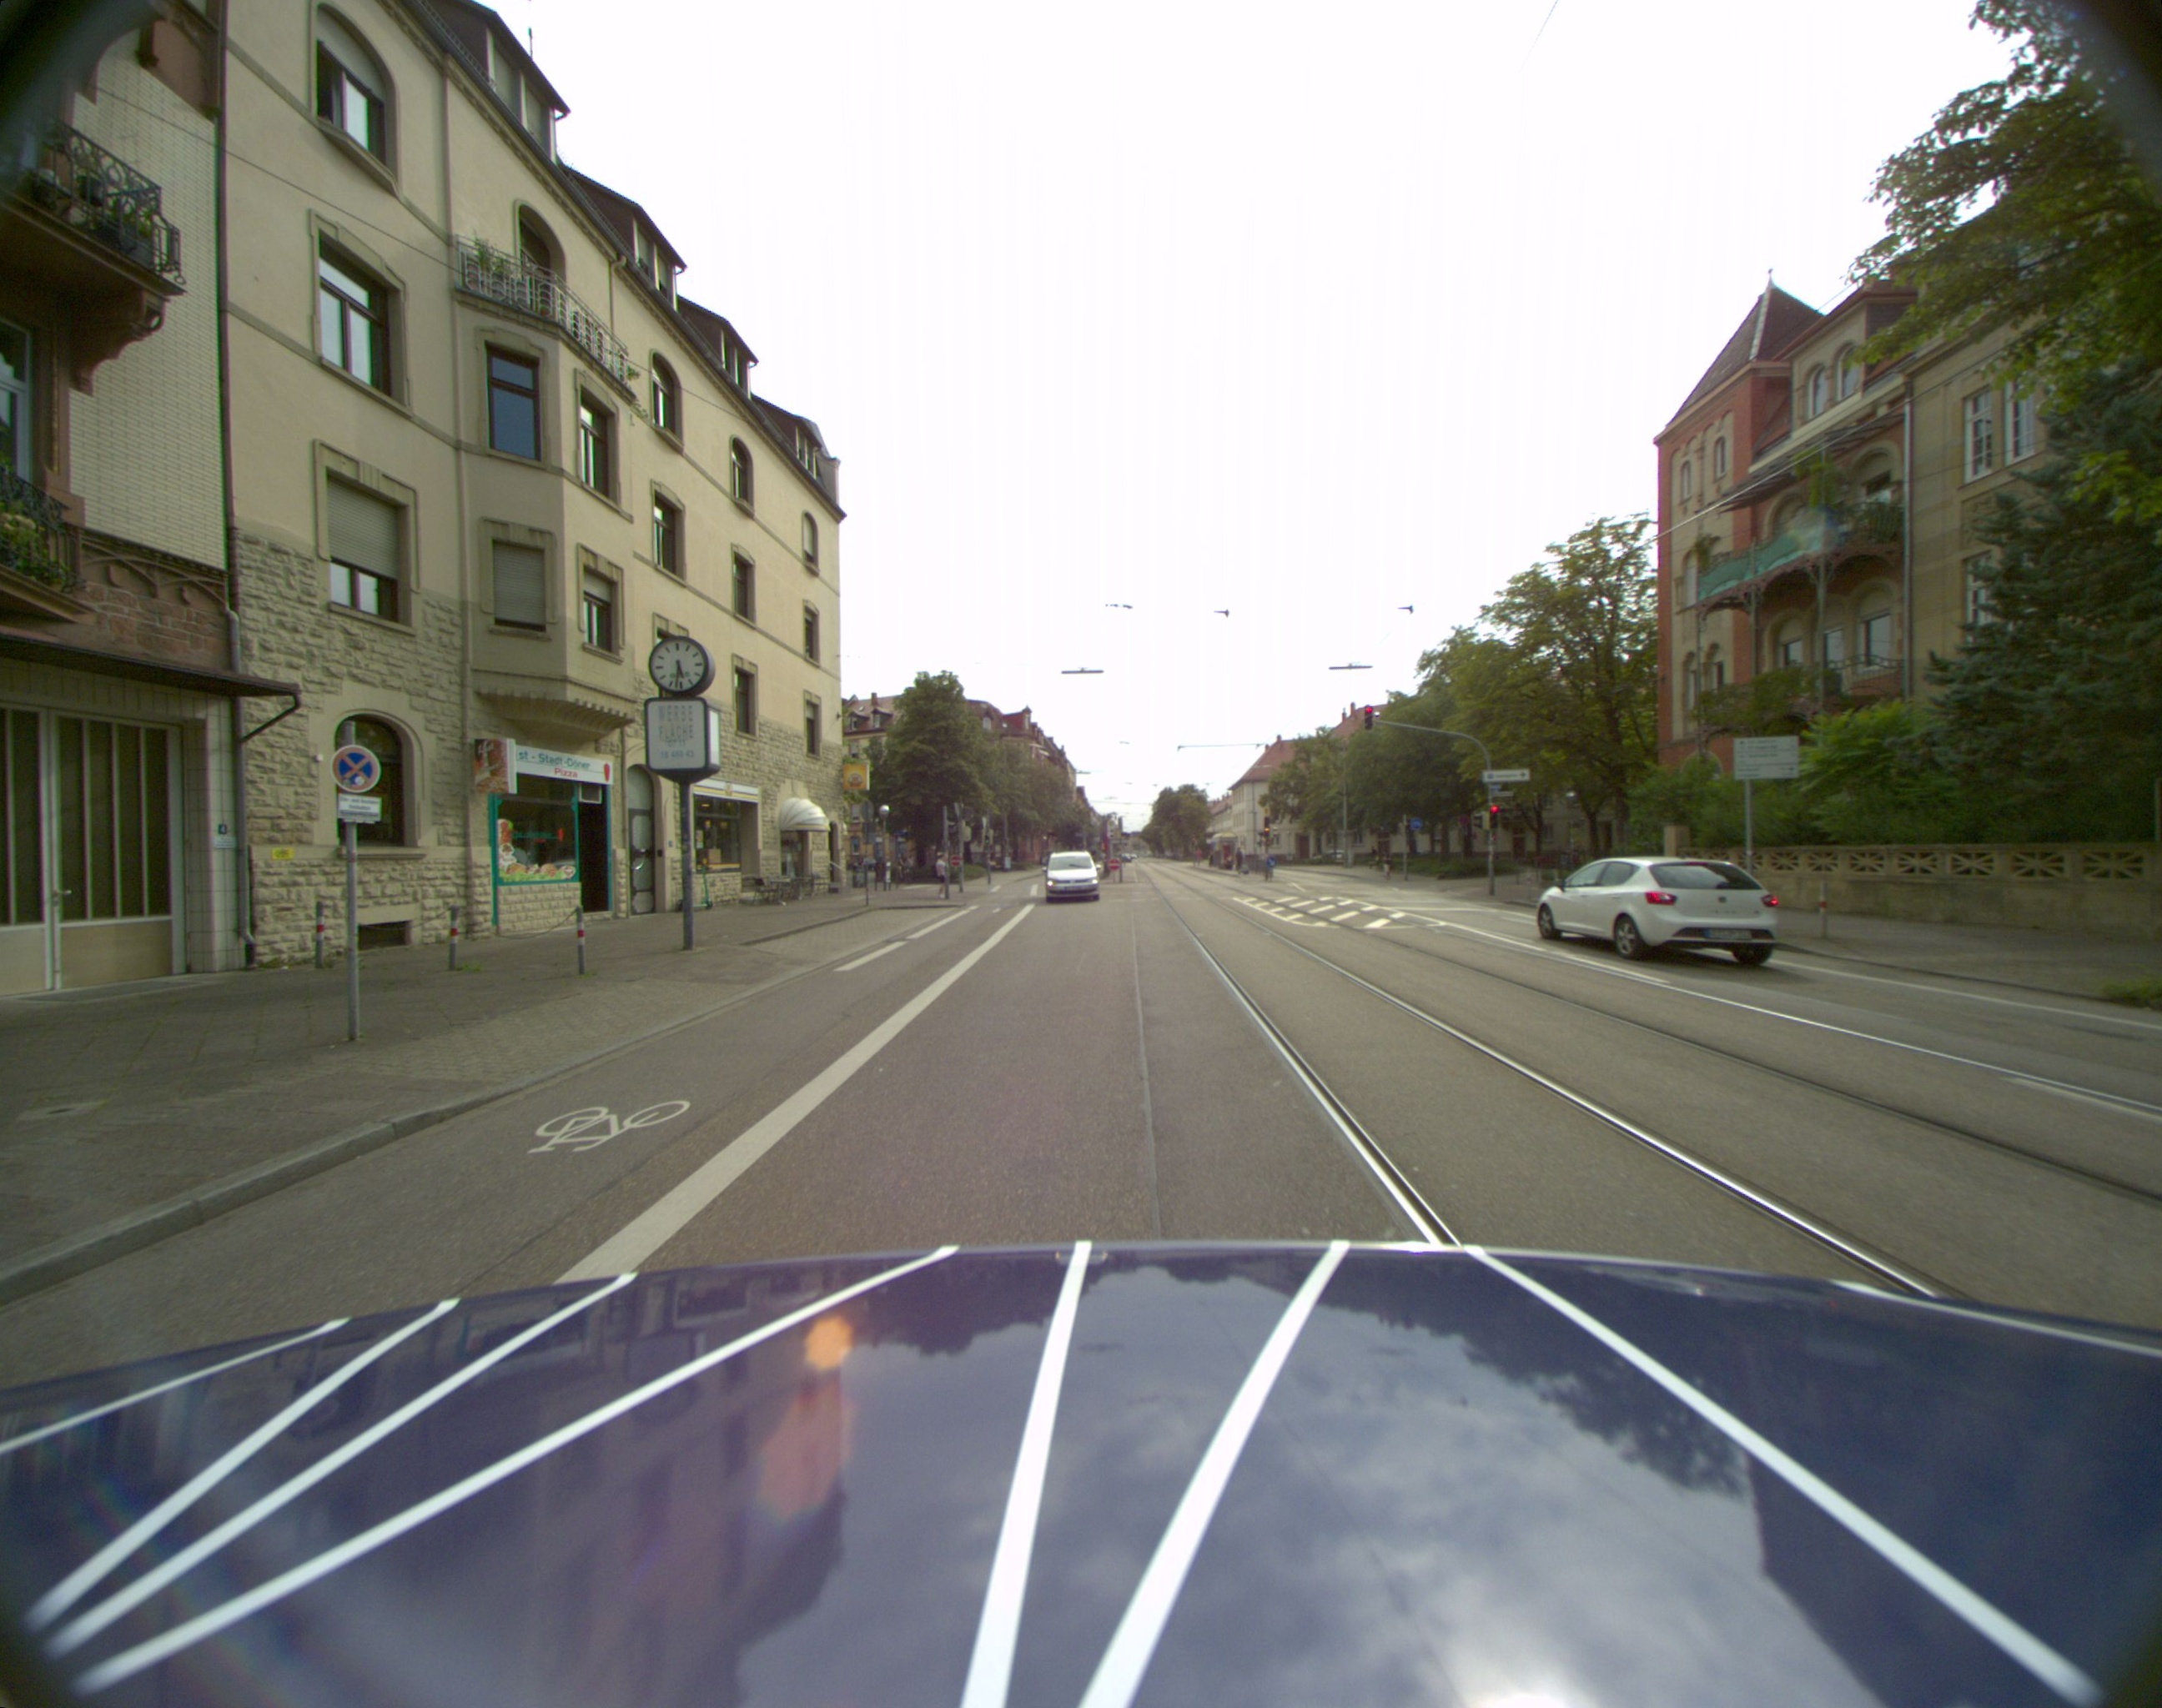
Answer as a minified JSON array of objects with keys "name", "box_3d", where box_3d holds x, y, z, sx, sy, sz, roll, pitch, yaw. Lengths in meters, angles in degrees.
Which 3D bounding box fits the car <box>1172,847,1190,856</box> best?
[{"name":"car","box_3d":[22.274,-0.578,169.701,3.995,1.716,1.877,-2,1,6]}]

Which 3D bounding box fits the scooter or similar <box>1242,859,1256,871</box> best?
[{"name":"scooter or similar","box_3d":[9.996,0.661,45.200,0.669,0.708,0.604,1,1,35]}]

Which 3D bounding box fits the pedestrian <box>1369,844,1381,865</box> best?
[{"name":"pedestrian","box_3d":[28.472,0.017,73.575,0.862,2.002,0.765,-1,1,38]}]

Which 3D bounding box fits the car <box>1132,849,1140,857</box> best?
[{"name":"car","box_3d":[15.080,-0.212,209.477,1.998,2.002,4.001,-2,0,5]}]

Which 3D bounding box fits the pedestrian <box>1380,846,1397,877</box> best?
[{"name":"pedestrian","box_3d":[16.983,0.404,41.945,0.654,1.680,0.712,-1,1,0]}]

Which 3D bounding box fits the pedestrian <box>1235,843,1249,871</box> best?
[{"name":"pedestrian","box_3d":[9.738,0.167,45.948,0.684,1.681,0.815,0,1,2]}]

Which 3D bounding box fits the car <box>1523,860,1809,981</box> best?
[{"name":"car","box_3d":[8.437,0.842,11.467,1.574,1.408,4.002,1,0,7]}]

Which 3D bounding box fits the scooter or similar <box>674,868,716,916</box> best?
[{"name":"scooter or similar","box_3d":[-9.931,0.956,19.591,0.398,1.161,1.197,1,1,4]}]

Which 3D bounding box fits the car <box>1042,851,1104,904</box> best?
[{"name":"car","box_3d":[-0.182,0.752,27.004,1.766,1.661,4.330,-2,0,4]}]

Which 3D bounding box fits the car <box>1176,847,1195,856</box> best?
[{"name":"car","box_3d":[21.907,-0.509,159.212,3.995,1.716,1.877,-2,1,6]}]

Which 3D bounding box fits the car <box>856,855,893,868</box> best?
[{"name":"car","box_3d":[-22.348,0.845,82.183,3.581,1.259,1.742,-2,1,27]}]

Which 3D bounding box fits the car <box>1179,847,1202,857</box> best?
[{"name":"car","box_3d":[20.057,-0.340,139.635,3.995,1.716,1.877,-2,1,6]}]

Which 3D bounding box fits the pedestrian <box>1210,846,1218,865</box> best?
[{"name":"pedestrian","box_3d":[12.105,0.146,69.354,0.588,1.694,0.619,-2,1,0]}]

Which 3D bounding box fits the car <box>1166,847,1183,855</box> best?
[{"name":"car","box_3d":[23.183,-0.713,188.945,3.995,1.716,1.877,-2,1,6]}]

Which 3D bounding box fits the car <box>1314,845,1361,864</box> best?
[{"name":"car","box_3d":[26.353,0.041,78.197,4.188,1.854,1.857,-2,1,38]}]

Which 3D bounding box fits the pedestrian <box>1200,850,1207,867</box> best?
[{"name":"pedestrian","box_3d":[12.385,0.482,76.908,0.501,1.694,0.402,-2,1,-10]}]

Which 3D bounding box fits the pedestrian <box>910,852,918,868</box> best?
[{"name":"pedestrian","box_3d":[-17.864,0.668,81.329,0.612,1.684,0.641,-1,1,-1]}]

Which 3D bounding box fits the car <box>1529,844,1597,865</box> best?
[{"name":"car","box_3d":[34.060,0.017,53.802,1.703,1.397,4.308,-1,0,-8]}]

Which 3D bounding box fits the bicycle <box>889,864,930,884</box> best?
[{"name":"bicycle","box_3d":[-9.475,1.079,41.891,0.888,1.039,3.088,-1,1,-41]}]

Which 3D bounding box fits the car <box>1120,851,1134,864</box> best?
[{"name":"car","box_3d":[7.301,0.540,119.122,1.998,2.002,4.001,-2,0,5]}]

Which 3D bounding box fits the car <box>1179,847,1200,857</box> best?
[{"name":"car","box_3d":[21.172,-0.428,148.918,3.995,1.716,1.877,-2,1,6]}]

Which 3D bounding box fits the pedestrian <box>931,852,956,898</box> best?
[{"name":"pedestrian","box_3d":[-5.113,0.779,28.284,0.721,1.651,0.759,3,1,0]}]

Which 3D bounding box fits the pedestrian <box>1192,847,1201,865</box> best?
[{"name":"pedestrian","box_3d":[11.691,0.219,76.910,0.658,1.824,0.464,-2,1,-10]}]

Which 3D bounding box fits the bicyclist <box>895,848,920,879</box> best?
[{"name":"bicyclist","box_3d":[-9.567,0.535,41.993,0.841,1.680,1.243,-1,0,-40]}]

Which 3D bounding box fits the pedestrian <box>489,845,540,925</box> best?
[{"name":"pedestrian","box_3d":[-11.333,0.611,15.202,0.551,1.571,0.561,-1,1,3]}]

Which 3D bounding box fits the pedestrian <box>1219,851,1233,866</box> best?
[{"name":"pedestrian","box_3d":[11.716,0.369,61.460,1.032,1.229,0.724,-2,1,2]}]
